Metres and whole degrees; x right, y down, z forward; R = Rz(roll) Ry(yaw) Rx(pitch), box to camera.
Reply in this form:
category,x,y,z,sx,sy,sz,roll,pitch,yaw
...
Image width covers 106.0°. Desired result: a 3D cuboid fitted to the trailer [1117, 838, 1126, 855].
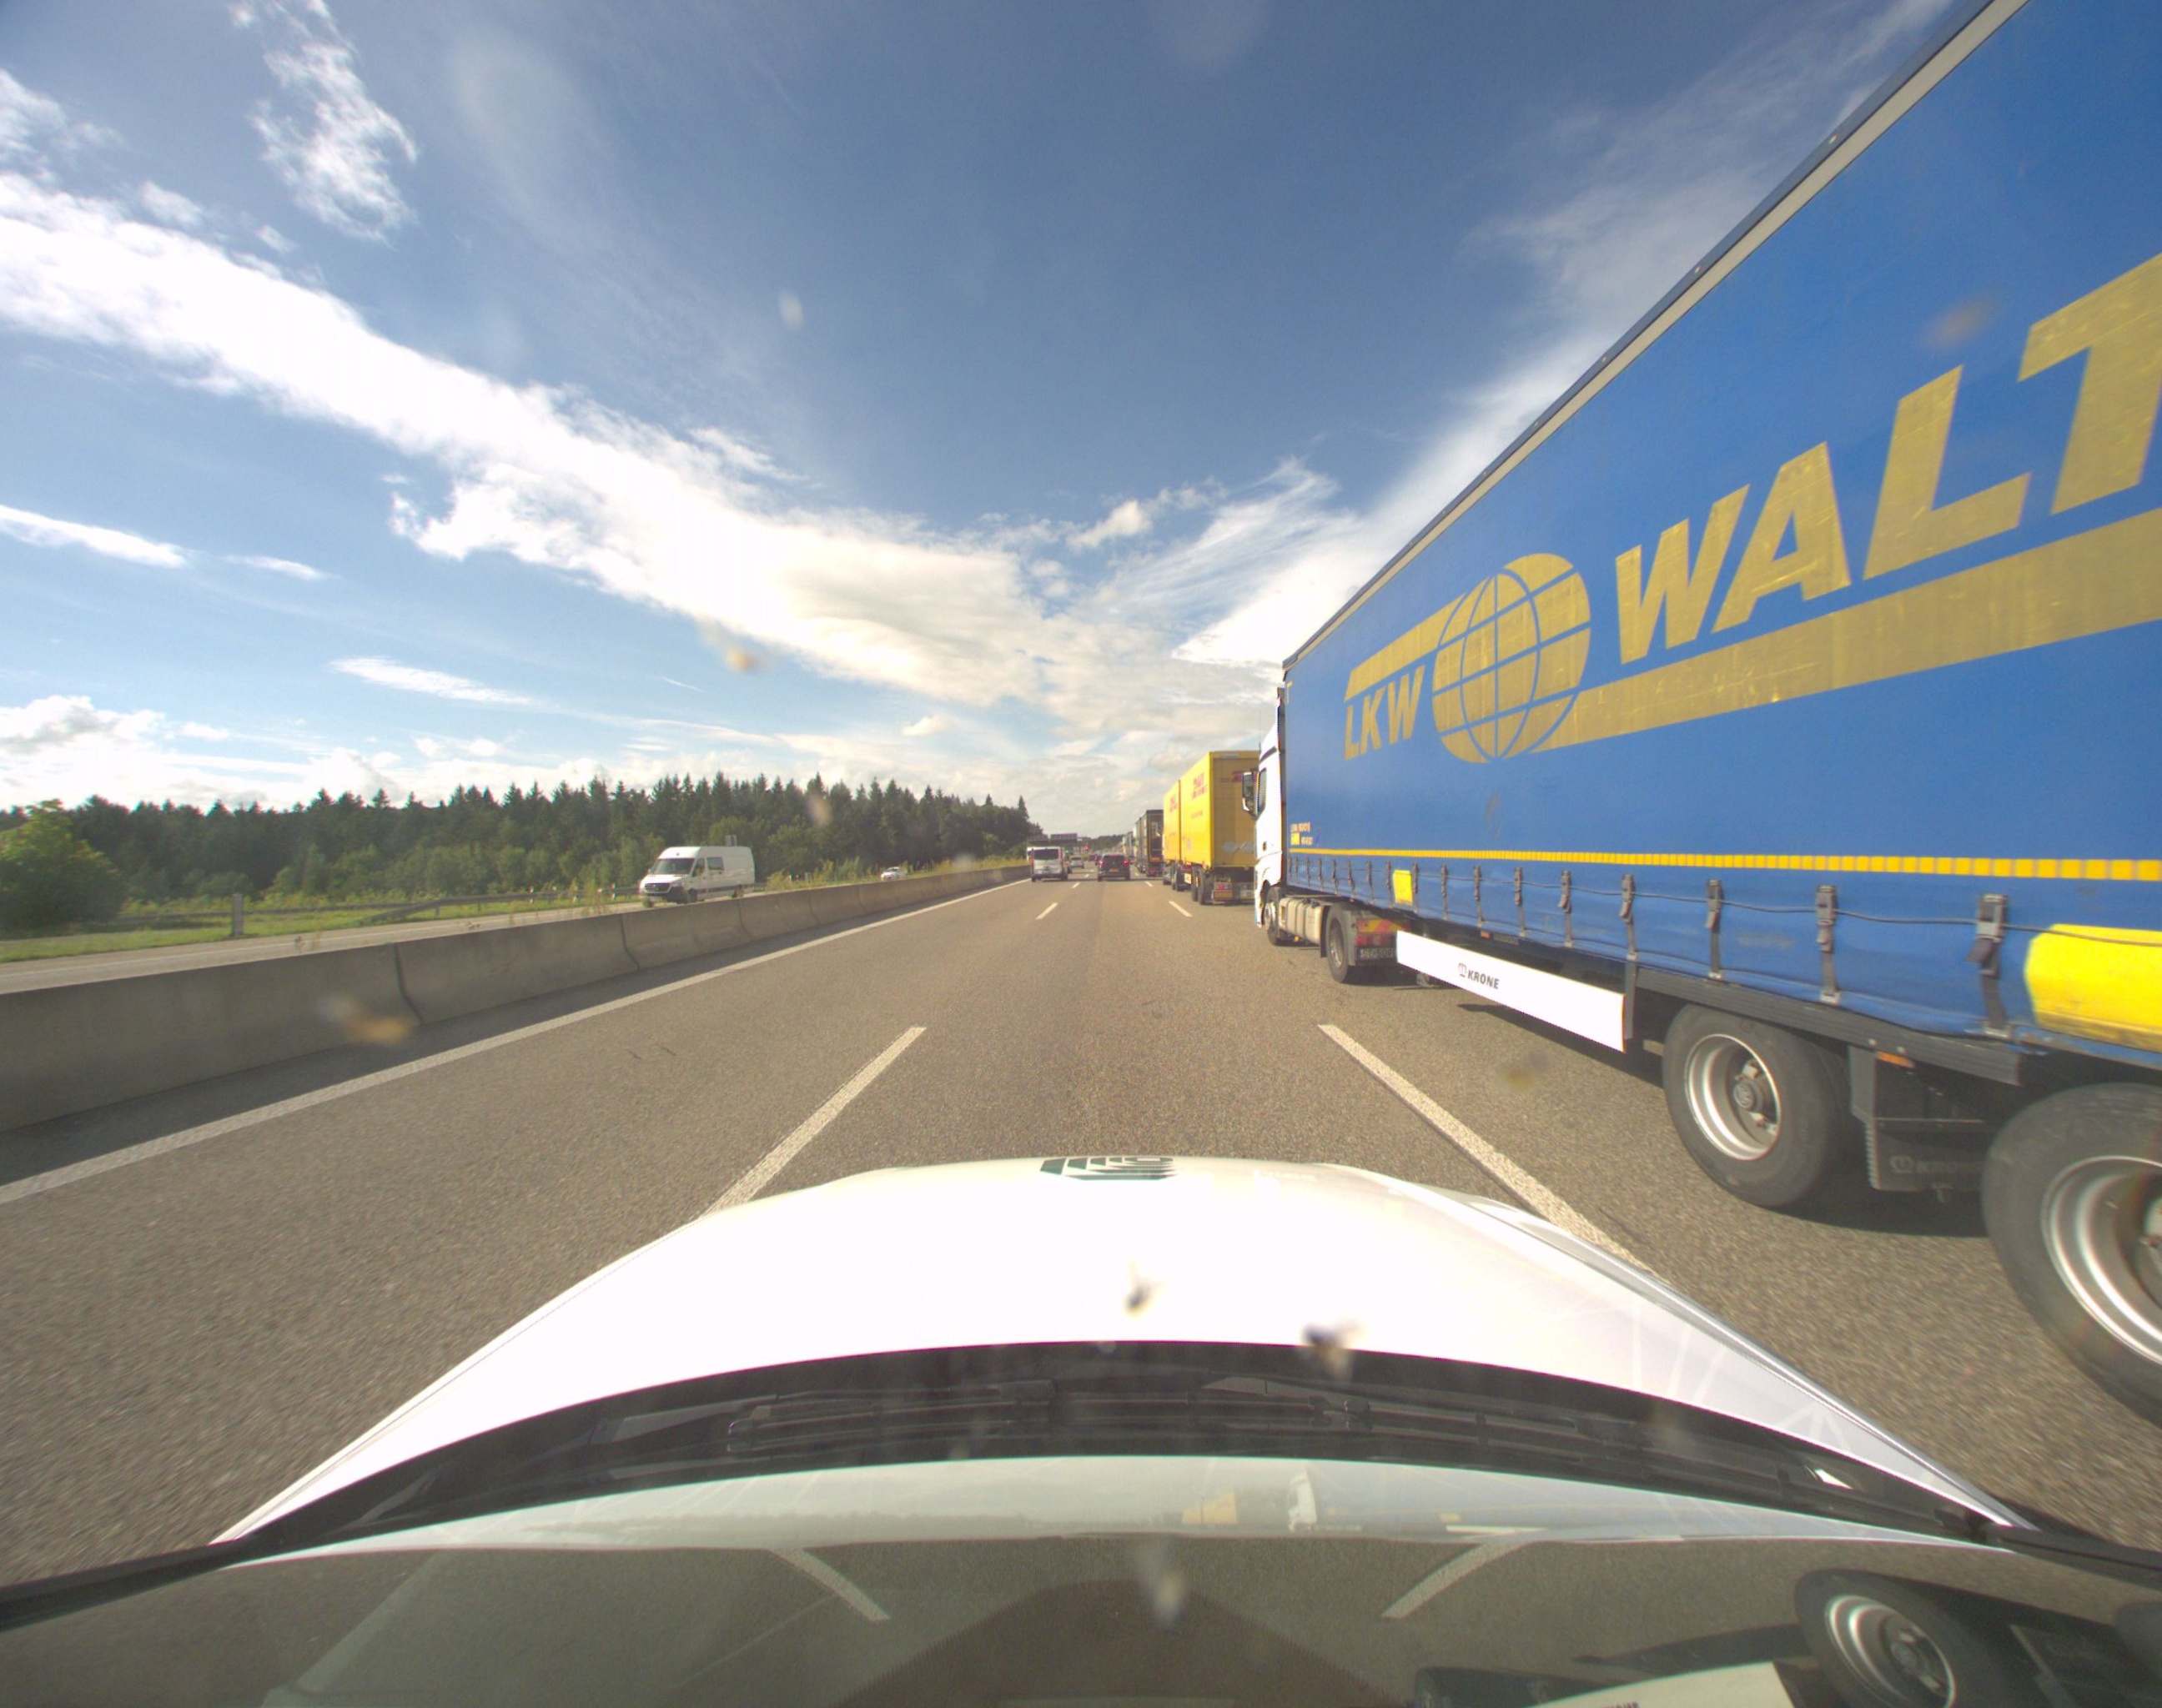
category,x,y,z,sx,sy,sz,roll,pitch,yaw
trailer,11.296,-2.047,225.303,2.141,4.259,8.446,-3,-1,3

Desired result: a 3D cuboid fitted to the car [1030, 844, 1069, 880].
category,x,y,z,sx,sy,sz,roll,pitch,yaw
car,-1.800,0.478,47.824,1.925,1.979,5.101,0,0,2

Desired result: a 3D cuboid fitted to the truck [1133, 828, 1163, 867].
category,x,y,z,sx,sy,sz,roll,pitch,yaw
truck,7.004,-0.643,85.824,2.790,3.939,5.830,-2,-1,3

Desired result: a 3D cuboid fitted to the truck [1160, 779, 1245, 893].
category,x,y,z,sx,sy,sz,roll,pitch,yaw
truck,4.825,-0.651,33.946,2.403,4.068,9.669,0,0,2

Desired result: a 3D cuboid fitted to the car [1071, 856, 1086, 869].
category,x,y,z,sx,sy,sz,roll,pitch,yaw
car,-0.261,0.943,92.673,1.494,1.396,3.477,0,0,2

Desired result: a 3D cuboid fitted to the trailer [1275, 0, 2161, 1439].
category,x,y,z,sx,sy,sz,roll,pitch,yaw
trailer,3.937,-0.660,4.767,2.632,4.098,13.984,0,0,2

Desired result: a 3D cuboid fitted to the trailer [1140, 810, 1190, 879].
category,x,y,z,sx,sy,sz,roll,pitch,yaw
trailer,5.153,-0.582,51.319,2.704,3.961,8.718,0,0,3

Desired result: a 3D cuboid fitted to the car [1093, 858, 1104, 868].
category,x,y,z,sx,sy,sz,roll,pitch,yaw
car,2.390,1.236,111.010,1.575,1.396,3.209,0,0,2

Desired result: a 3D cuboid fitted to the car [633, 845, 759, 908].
category,x,y,z,sx,sy,sz,roll,pitch,yaw
car,-17.205,0.944,36.972,2.026,2.578,7.324,0,0,2

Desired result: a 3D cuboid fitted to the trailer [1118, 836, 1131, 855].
category,x,y,z,sx,sy,sz,roll,pitch,yaw
trailer,10.457,-1.933,195.870,2.791,4.244,11.065,-4,-1,3

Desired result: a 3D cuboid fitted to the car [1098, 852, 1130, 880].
category,x,y,z,sx,sy,sz,roll,pitch,yaw
car,1.837,0.645,45.301,1.690,1.483,4.162,0,0,2

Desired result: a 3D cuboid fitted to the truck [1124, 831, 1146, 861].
category,x,y,z,sx,sy,sz,roll,pitch,yaw
truck,7.351,-0.985,112.405,2.636,3.869,7.000,-3,-1,2

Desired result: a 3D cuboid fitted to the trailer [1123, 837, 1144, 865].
category,x,y,z,sx,sy,sz,roll,pitch,yaw
trailer,8.375,-0.441,131.285,2.692,4.081,12.951,-4,0,2

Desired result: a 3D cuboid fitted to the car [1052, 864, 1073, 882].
category,x,y,z,sx,sy,sz,roll,pitch,yaw
car,-1.520,1.524,66.669,1.494,1.396,3.477,0,0,2

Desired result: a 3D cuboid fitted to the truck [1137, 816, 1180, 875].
category,x,y,z,sx,sy,sz,roll,pitch,yaw
truck,5.639,-0.560,60.779,2.729,4.038,10.210,0,0,3

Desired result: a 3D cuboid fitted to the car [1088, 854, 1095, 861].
category,x,y,z,sx,sy,sz,roll,pitch,yaw
car,2.223,0.758,170.792,1.429,1.310,3.535,0,0,2

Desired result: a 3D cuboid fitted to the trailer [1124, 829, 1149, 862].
category,x,y,z,sx,sy,sz,roll,pitch,yaw
trailer,7.059,-1.029,105.459,2.651,3.869,13.402,-3,0,2

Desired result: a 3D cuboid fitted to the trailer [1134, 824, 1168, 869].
category,x,y,z,sx,sy,sz,roll,pitch,yaw
trailer,6.658,-0.658,79.146,2.780,3.939,13.079,-2,0,3

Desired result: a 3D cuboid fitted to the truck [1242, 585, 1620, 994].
category,x,y,z,sx,sy,sz,roll,pitch,yaw
truck,4.130,-0.629,11.392,2.638,4.089,6.493,0,0,2

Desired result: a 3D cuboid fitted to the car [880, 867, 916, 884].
category,x,y,z,sx,sy,sz,roll,pitch,yaw
car,-20.662,2.403,92.182,1.980,1.800,4.994,0,0,12

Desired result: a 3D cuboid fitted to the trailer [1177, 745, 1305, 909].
category,x,y,z,sx,sy,sz,roll,pitch,yaw
trailer,4.495,-0.668,24.661,2.403,4.068,8.931,0,0,2

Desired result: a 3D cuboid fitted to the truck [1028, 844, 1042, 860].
category,x,y,z,sx,sy,sz,roll,pitch,yaw
truck,-11.525,-0.467,203.746,2.809,3.976,5.835,-2,0,1
